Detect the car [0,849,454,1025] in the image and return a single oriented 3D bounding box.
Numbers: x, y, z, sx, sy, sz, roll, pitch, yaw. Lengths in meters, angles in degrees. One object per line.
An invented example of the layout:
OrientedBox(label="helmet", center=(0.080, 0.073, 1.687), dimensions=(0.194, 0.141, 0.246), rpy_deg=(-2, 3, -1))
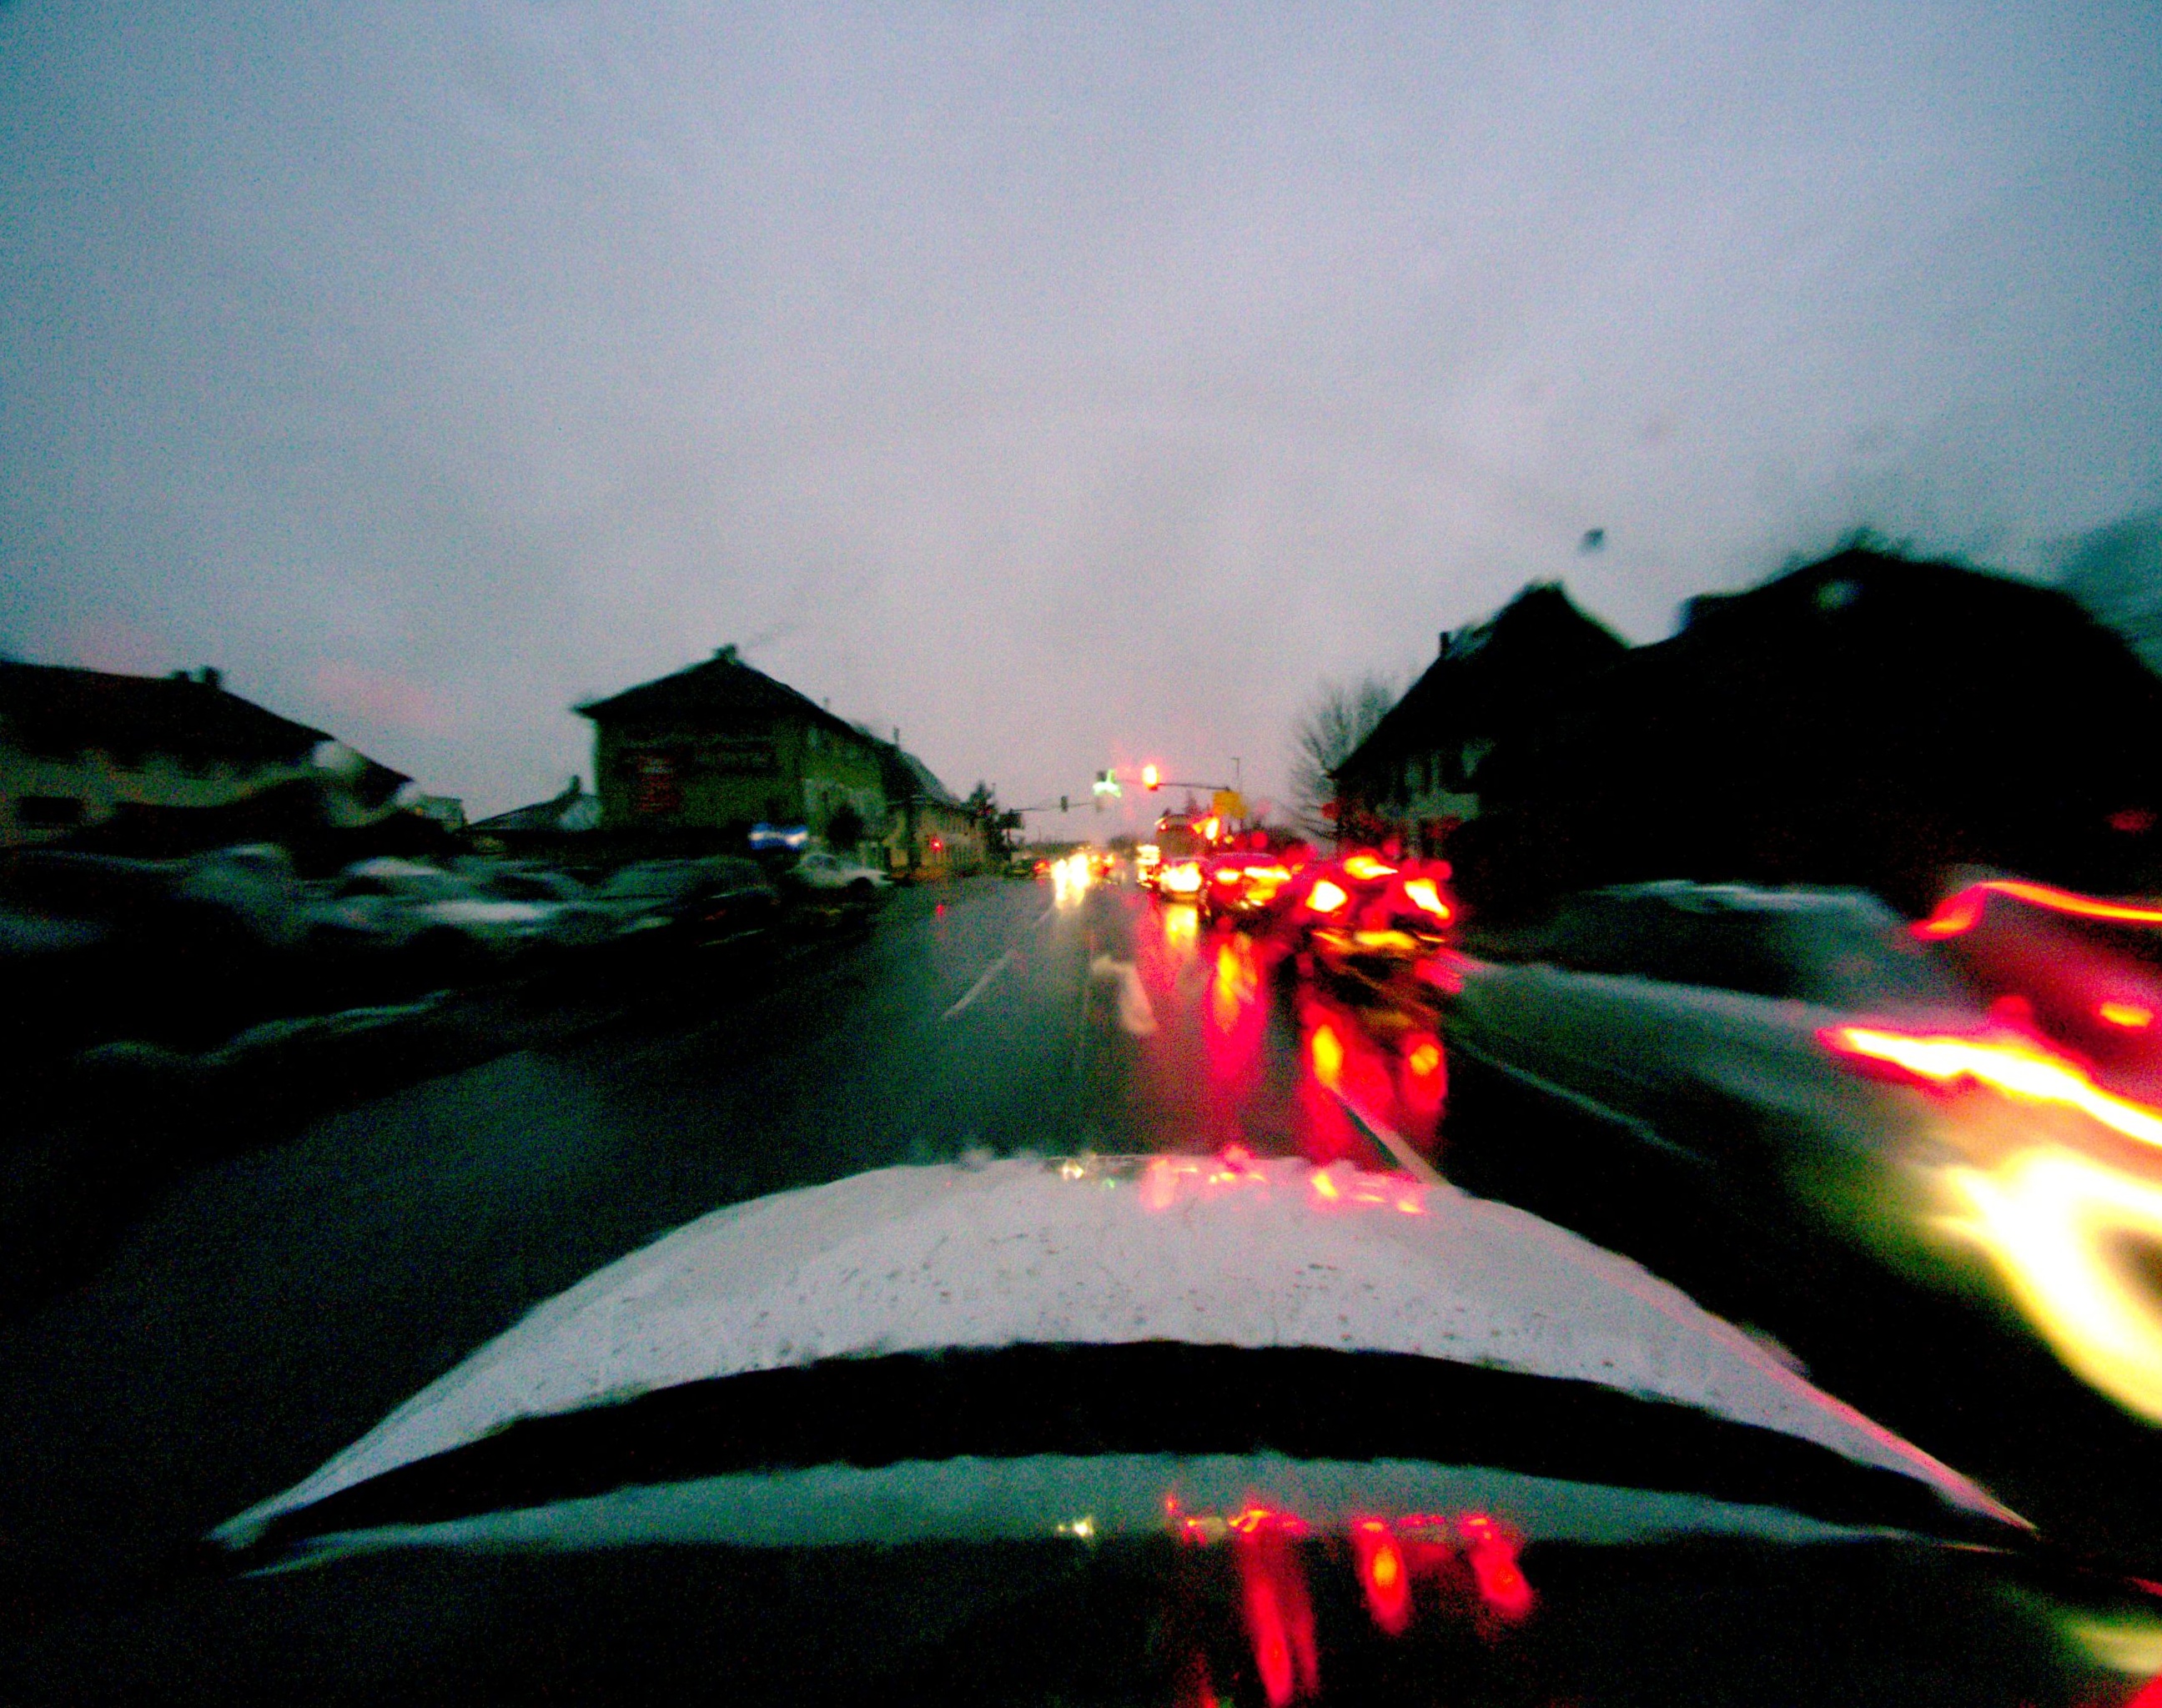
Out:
OrientedBox(label="car", center=(-10.066, 0.831, 9.261), dimensions=(4.261, 1.662, 2.001), rpy_deg=(2, 0, 1))

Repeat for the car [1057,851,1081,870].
OrientedBox(label="car", center=(-1.193, 0.593, 81.035), dimensions=(1.984, 1.746, 4.005), rpy_deg=(-2, 0, 4))

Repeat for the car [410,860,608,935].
OrientedBox(label="car", center=(-13.909, 0.982, 20.139), dimensions=(1.987, 1.624, 4.000), rpy_deg=(-1, 0, 1))

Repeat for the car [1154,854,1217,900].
OrientedBox(label="car", center=(3.481, 0.727, 27.798), dimensions=(1.656, 1.439, 4.382), rpy_deg=(0, 0, 1))

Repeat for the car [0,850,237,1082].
OrientedBox(label="car", center=(-10.146, 0.803, 6.642), dimensions=(4.261, 1.662, 2.137), rpy_deg=(2, 0, 1))

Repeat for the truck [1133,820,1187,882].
OrientedBox(label="truck", center=(4.309, -0.150, 45.338), dimensions=(2.453, 3.230, 6.273), rpy_deg=(0, 0, 1))

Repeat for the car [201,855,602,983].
OrientedBox(label="car", center=(-9.920, 0.887, 12.179), dimensions=(4.261, 1.627, 2.001), rpy_deg=(2, 0, 1))

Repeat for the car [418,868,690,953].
OrientedBox(label="car", center=(-9.562, 0.993, 14.993), dimensions=(3.879, 1.428, 1.720), rpy_deg=(0, 0, 2))

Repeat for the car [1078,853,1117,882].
OrientedBox(label="car", center=(0.925, 0.750, 48.350), dimensions=(2.041, 1.573, 4.700), rpy_deg=(-2, 0, -2))

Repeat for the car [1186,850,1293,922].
OrientedBox(label="car", center=(3.746, 0.704, 19.993), dimensions=(1.830, 1.568, 4.504), rpy_deg=(0, 0, 1))

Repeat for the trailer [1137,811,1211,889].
OrientedBox(label="trailer", center=(4.219, -0.169, 39.241), dimensions=(2.479, 3.241, 10.869), rpy_deg=(0, 0, 1))

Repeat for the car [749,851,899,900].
OrientedBox(label="car", center=(-9.956, 0.812, 31.839), dimensions=(5.168, 1.791, 2.001), rpy_deg=(-1, 0, 2))

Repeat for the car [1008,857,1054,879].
OrientedBox(label="car", center=(-3.579, 0.965, 57.797), dimensions=(3.211, 1.508, 1.546), rpy_deg=(0, 0, -5))

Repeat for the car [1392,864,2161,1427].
OrientedBox(label="car", center=(3.188, 0.760, 4.182), dimensions=(1.647, 1.336, 4.273), rpy_deg=(-1, 0, 1))

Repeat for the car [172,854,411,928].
OrientedBox(label="car", center=(-19.397, 0.826, 20.313), dimensions=(1.987, 1.624, 4.000), rpy_deg=(-1, 0, 1))

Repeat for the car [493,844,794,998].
OrientedBox(label="car", center=(-6.196, 0.813, 12.314), dimensions=(1.963, 1.830, 4.514), rpy_deg=(-2, 0, 1))

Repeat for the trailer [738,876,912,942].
OrientedBox(label="trailer", center=(-5.717, 1.166, 19.198), dimensions=(1.986, 1.039, 6.106), rpy_deg=(-2, 0, 1))

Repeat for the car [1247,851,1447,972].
OrientedBox(label="car", center=(3.687, 0.695, 12.108), dimensions=(1.695, 1.471, 4.273), rpy_deg=(0, 0, 1))
